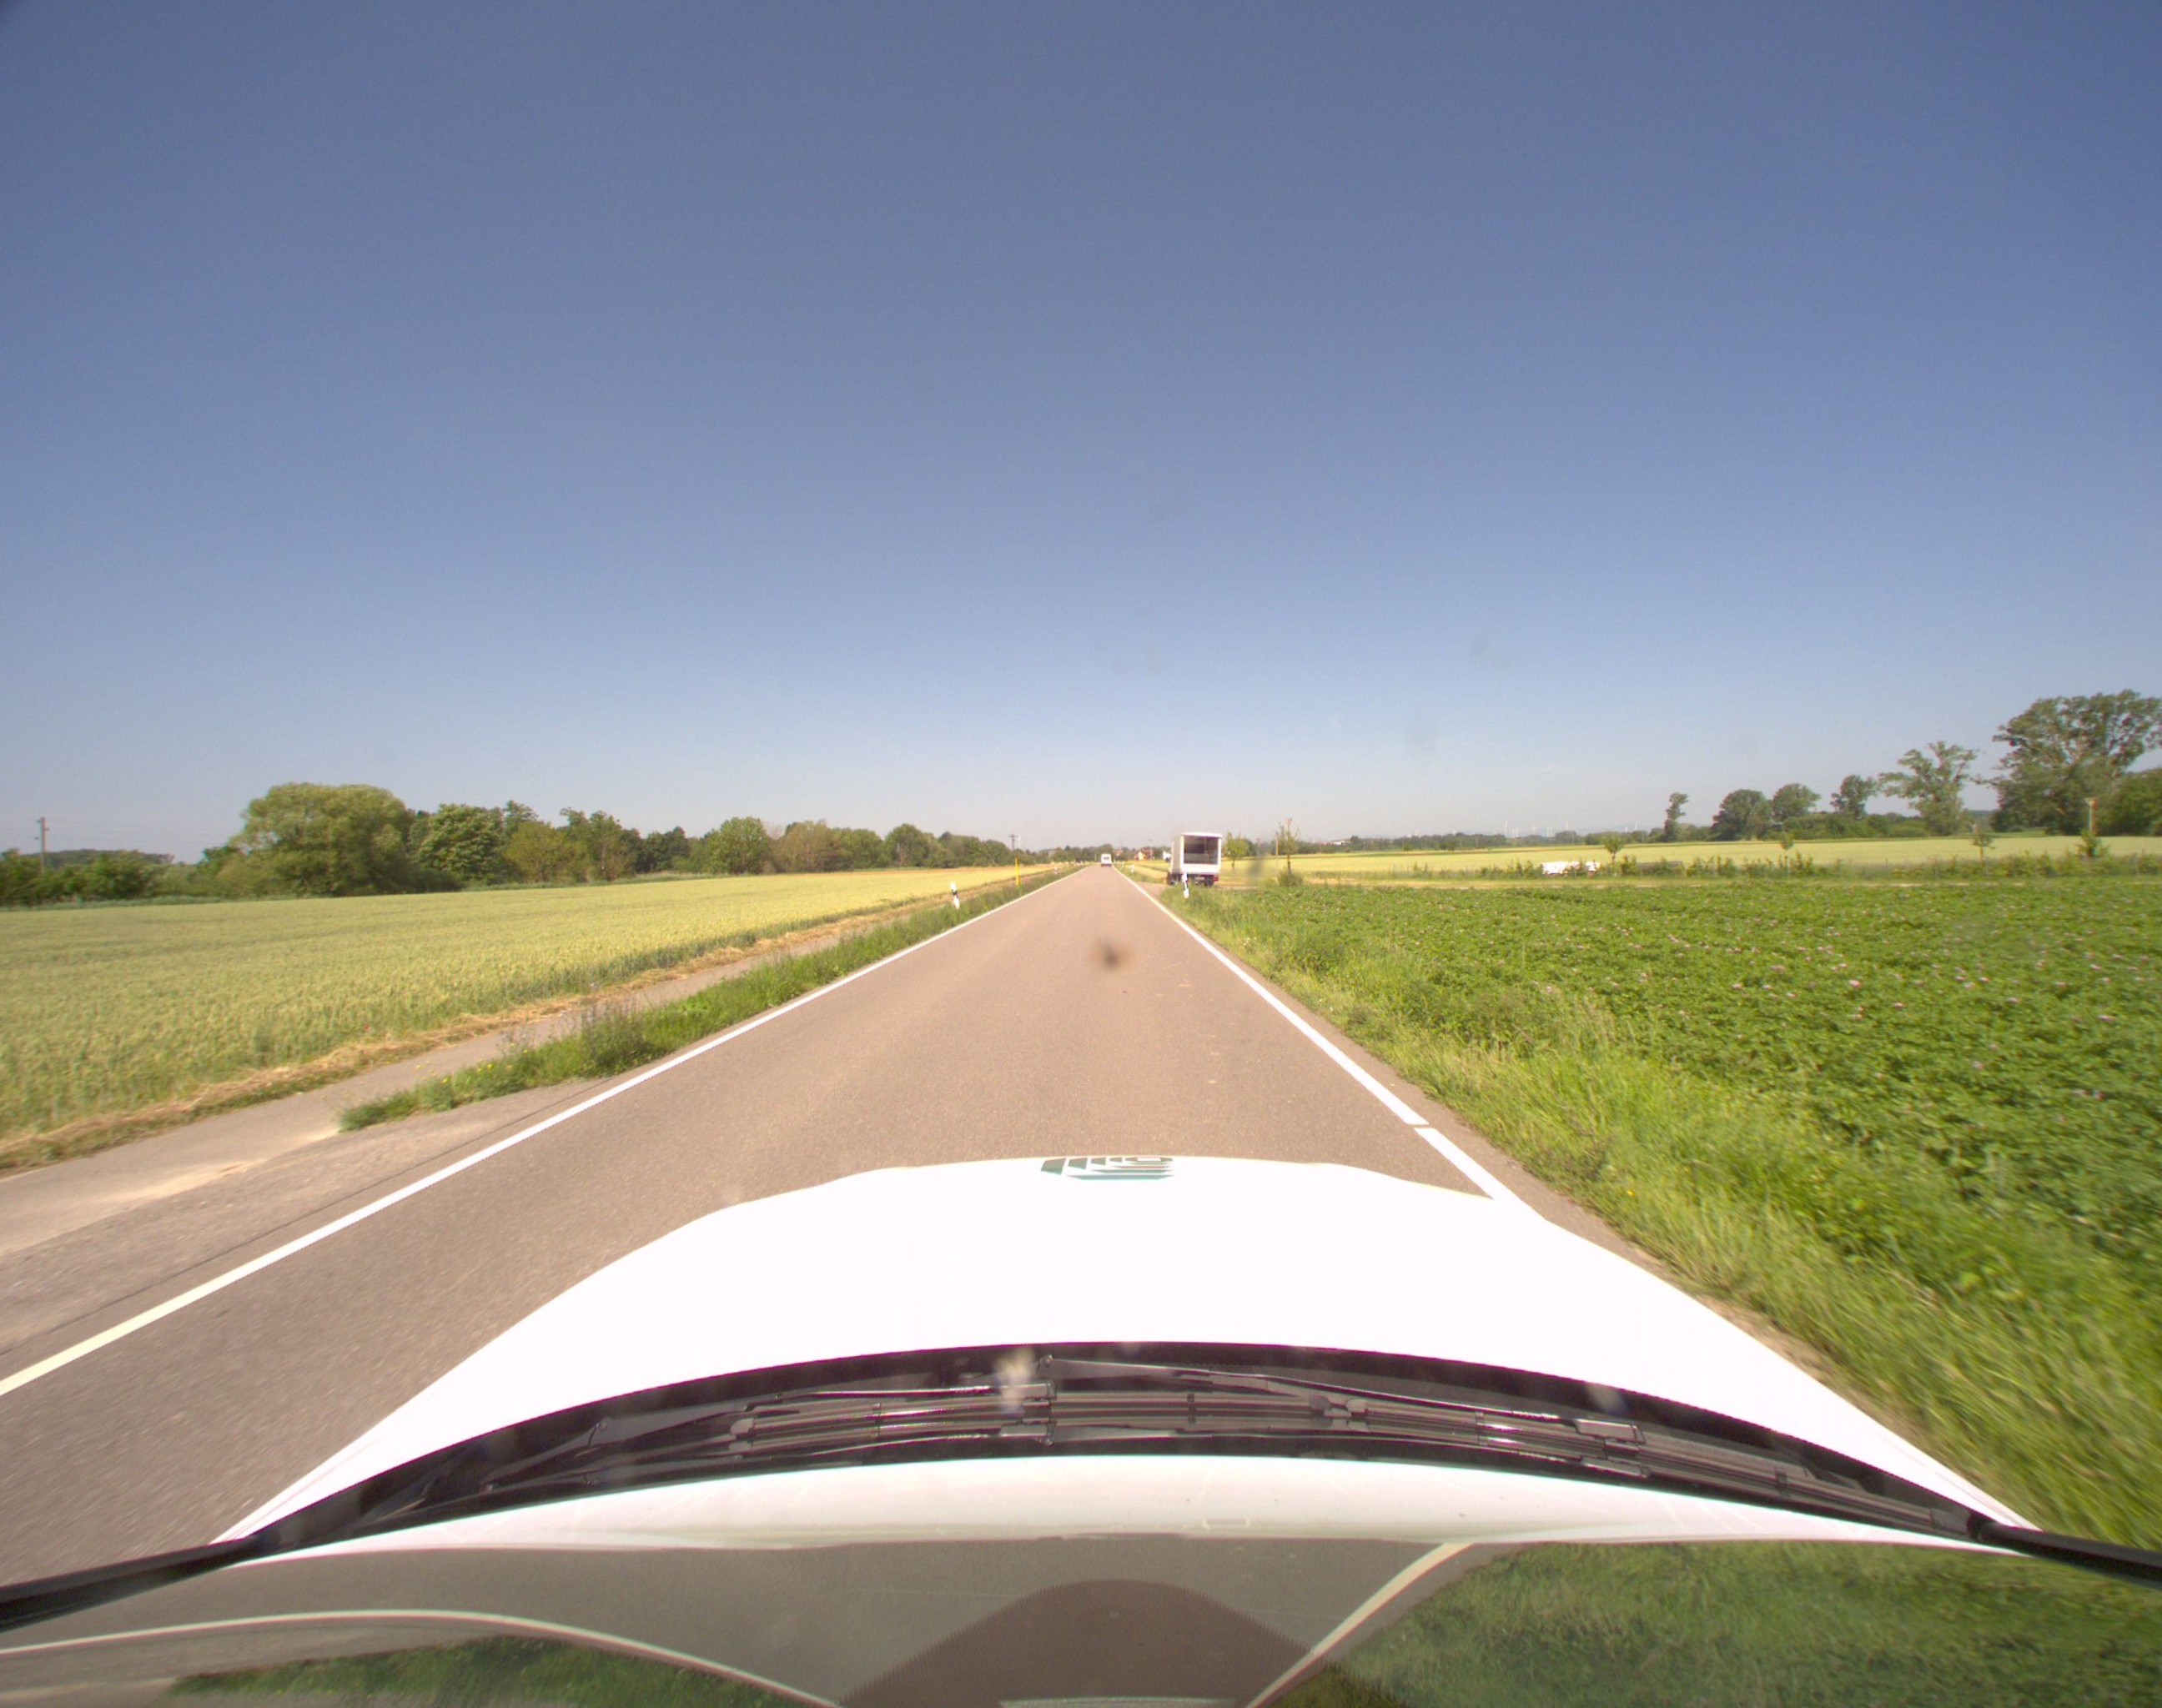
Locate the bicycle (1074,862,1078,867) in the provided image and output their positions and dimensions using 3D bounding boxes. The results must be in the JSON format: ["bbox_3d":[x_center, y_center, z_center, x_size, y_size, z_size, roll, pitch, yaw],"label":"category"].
[{"bbox_3d":[-1.279,2.434,192.666,0.756,1.236,2.395,-4,-1,2],"label":"bicycle"}]

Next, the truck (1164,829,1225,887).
[{"bbox_3d":[6.223,0.246,45.527,2.328,2.942,7.006,1,-1,0],"label":"truck"}]

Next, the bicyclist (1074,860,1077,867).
[{"bbox_3d":[-1.289,2.224,192.621,0.757,1.672,1.089,-3,-1,1],"label":"bicyclist"}]

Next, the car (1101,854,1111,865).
[{"bbox_3d":[5.003,1.113,163.236,2.099,2.304,5.497,0,-1,1],"label":"car"}]

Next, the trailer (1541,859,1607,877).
[{"bbox_3d":[33.601,0.941,55.602,3.560,1.189,1.669,0,-1,13],"label":"trailer"}]
